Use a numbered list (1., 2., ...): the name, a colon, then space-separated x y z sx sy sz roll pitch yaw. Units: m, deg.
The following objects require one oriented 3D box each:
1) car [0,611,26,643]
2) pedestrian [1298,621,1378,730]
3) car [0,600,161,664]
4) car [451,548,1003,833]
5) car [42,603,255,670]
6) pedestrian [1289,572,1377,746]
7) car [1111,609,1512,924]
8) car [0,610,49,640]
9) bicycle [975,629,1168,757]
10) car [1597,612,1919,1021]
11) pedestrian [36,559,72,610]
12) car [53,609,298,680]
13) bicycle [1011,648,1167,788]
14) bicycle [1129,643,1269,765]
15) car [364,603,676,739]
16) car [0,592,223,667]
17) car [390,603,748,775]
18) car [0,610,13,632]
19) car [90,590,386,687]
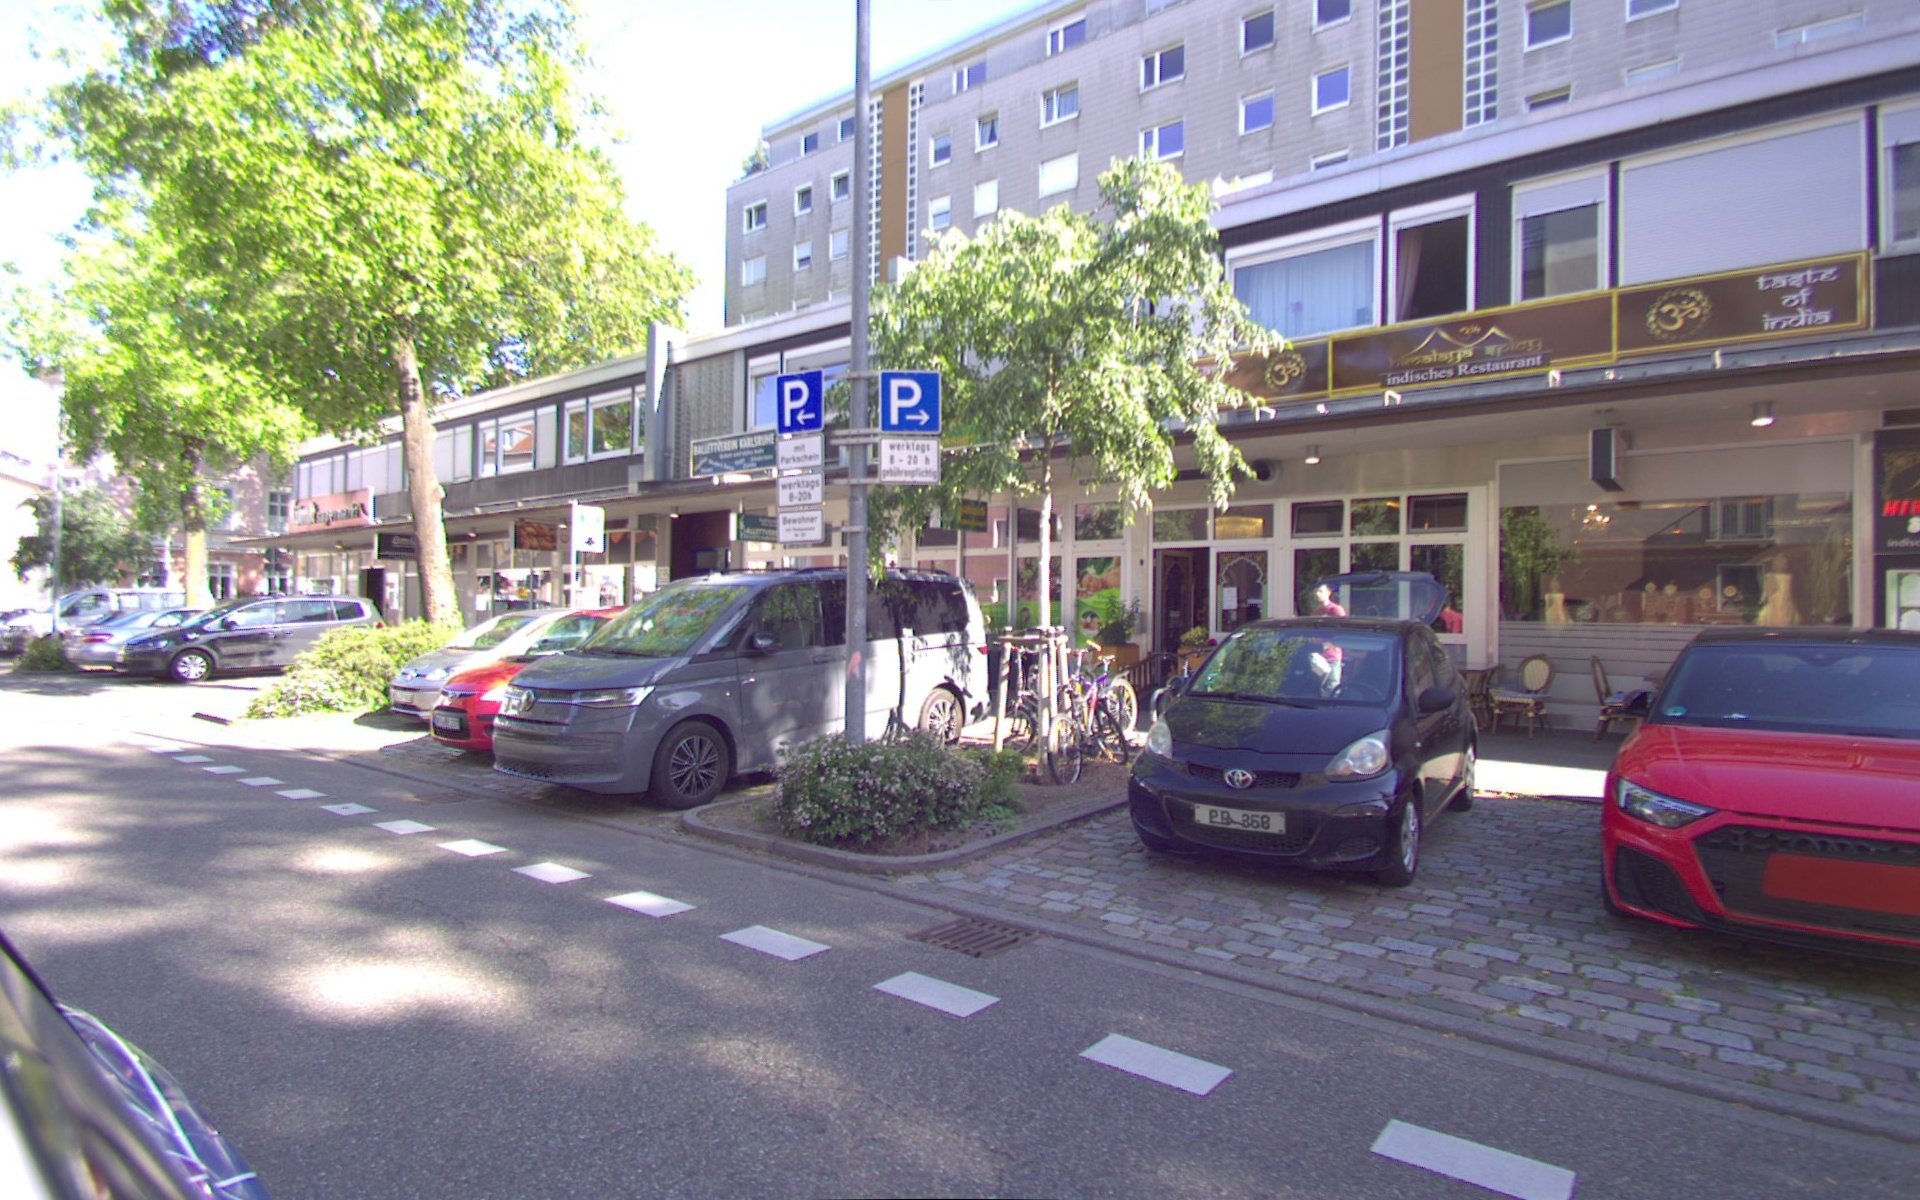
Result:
1. car: -51.257 1.394 53.583 1.645 1.650 4.061 1 -1 -28
2. pedestrian: 4.564 0.889 12.227 0.746 1.255 0.643 -1 -2 39
3. car: -26.699 0.946 30.381 1.755 1.805 3.949 -1 -2 37
4. car: -1.813 0.615 9.482 1.871 1.953 4.981 -1 0 38
5. car: -20.758 0.873 26.034 1.734 1.431 3.951 -1 2 36
6. pedestrian: 3.838 0.596 10.436 0.571 1.725 0.637 1 -1 -23
7. car: 2.556 0.809 6.777 1.609 1.461 3.634 0 0 35
8. car: -53.864 1.416 57.979 1.482 1.674 4.013 1 -1 -27
9. bicycle: 1.204 0.899 10.469 0.801 1.176 2.211 -1 -2 44
10. car: 4.648 0.823 5.352 1.708 1.461 3.879 0 0 39
11. pedestrian: -29.743 -0.499 33.220 0.807 1.652 0.718 0 -2 38
12. car: -17.214 0.939 22.382 1.756 1.409 3.951 -1 -1 36
13. bicycle: 1.178 0.967 8.849 0.613 1.047 1.847 0 -2 33
14. bicycle: 2.378 0.962 9.911 0.614 1.047 1.844 0 -2 38
15. car: -5.855 0.841 13.773 1.671 1.573 3.551 -1 0 39
16. car: -24.443 0.784 29.095 1.906 1.984 4.937 -1 0 36
17. car: -4.178 0.834 11.335 1.654 1.566 3.535 -1 0 28
18. car: -64.464 1.375 67.099 1.608 1.431 3.304 1 -1 -28
19. car: -14.914 0.717 21.182 1.871 1.790 4.725 -1 0 36
